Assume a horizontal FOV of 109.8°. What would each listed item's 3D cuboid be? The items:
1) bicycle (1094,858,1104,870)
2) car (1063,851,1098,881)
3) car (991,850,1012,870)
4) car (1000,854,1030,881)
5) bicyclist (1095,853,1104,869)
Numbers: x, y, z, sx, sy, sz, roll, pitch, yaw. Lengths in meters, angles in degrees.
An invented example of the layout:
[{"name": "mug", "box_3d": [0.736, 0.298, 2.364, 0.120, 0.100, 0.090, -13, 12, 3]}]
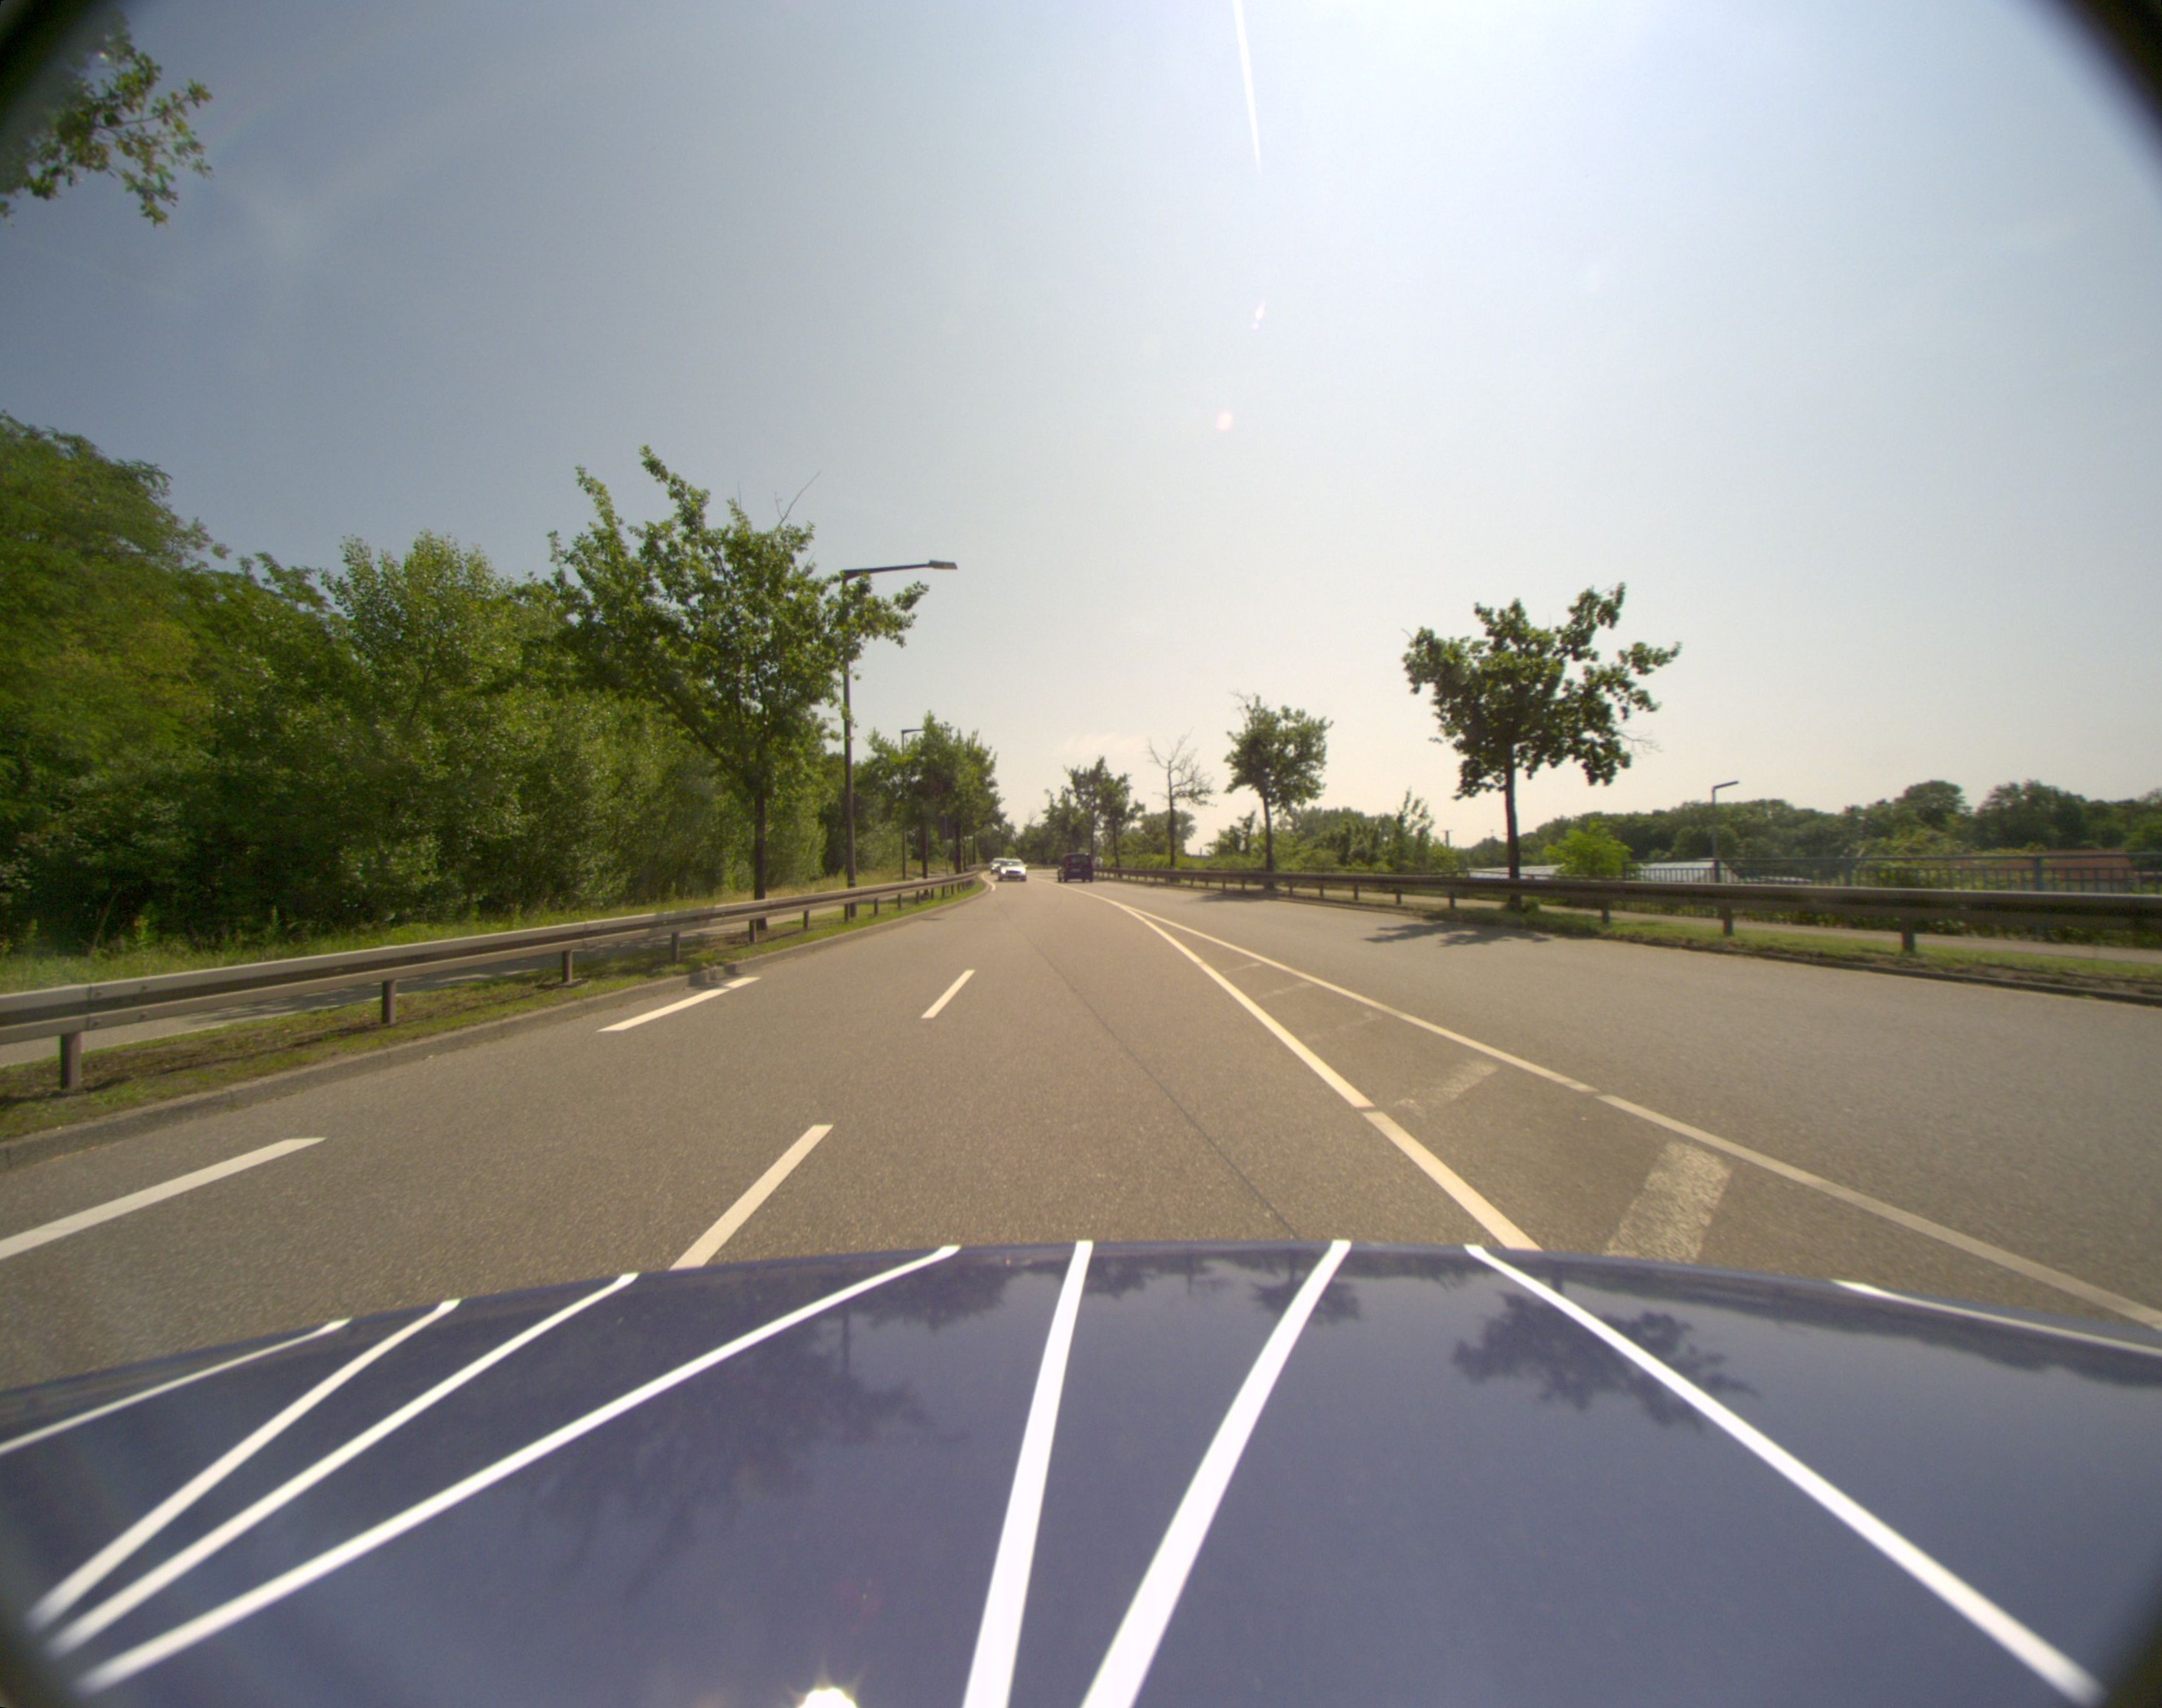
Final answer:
[{"name": "bicycle", "box_3d": [1.653, 0.913, 69.690, 0.736, 1.110, 2.045, 2, 0, -4]}, {"name": "car", "box_3d": [-0.100, 0.706, 47.086, 1.812, 1.749, 4.250, -2, 0, -4]}, {"name": "car", "box_3d": [-7.188, 0.556, 69.062, 1.800, 1.772, 4.291, 0, 0, -5]}, {"name": "car", "box_3d": [-4.201, 0.856, 49.010, 1.764, 1.490, 4.231, -3, 1, -4]}, {"name": "bicyclist", "box_3d": [1.671, 0.608, 69.635, 0.731, 1.457, 0.824, 2, 1, -3]}]
